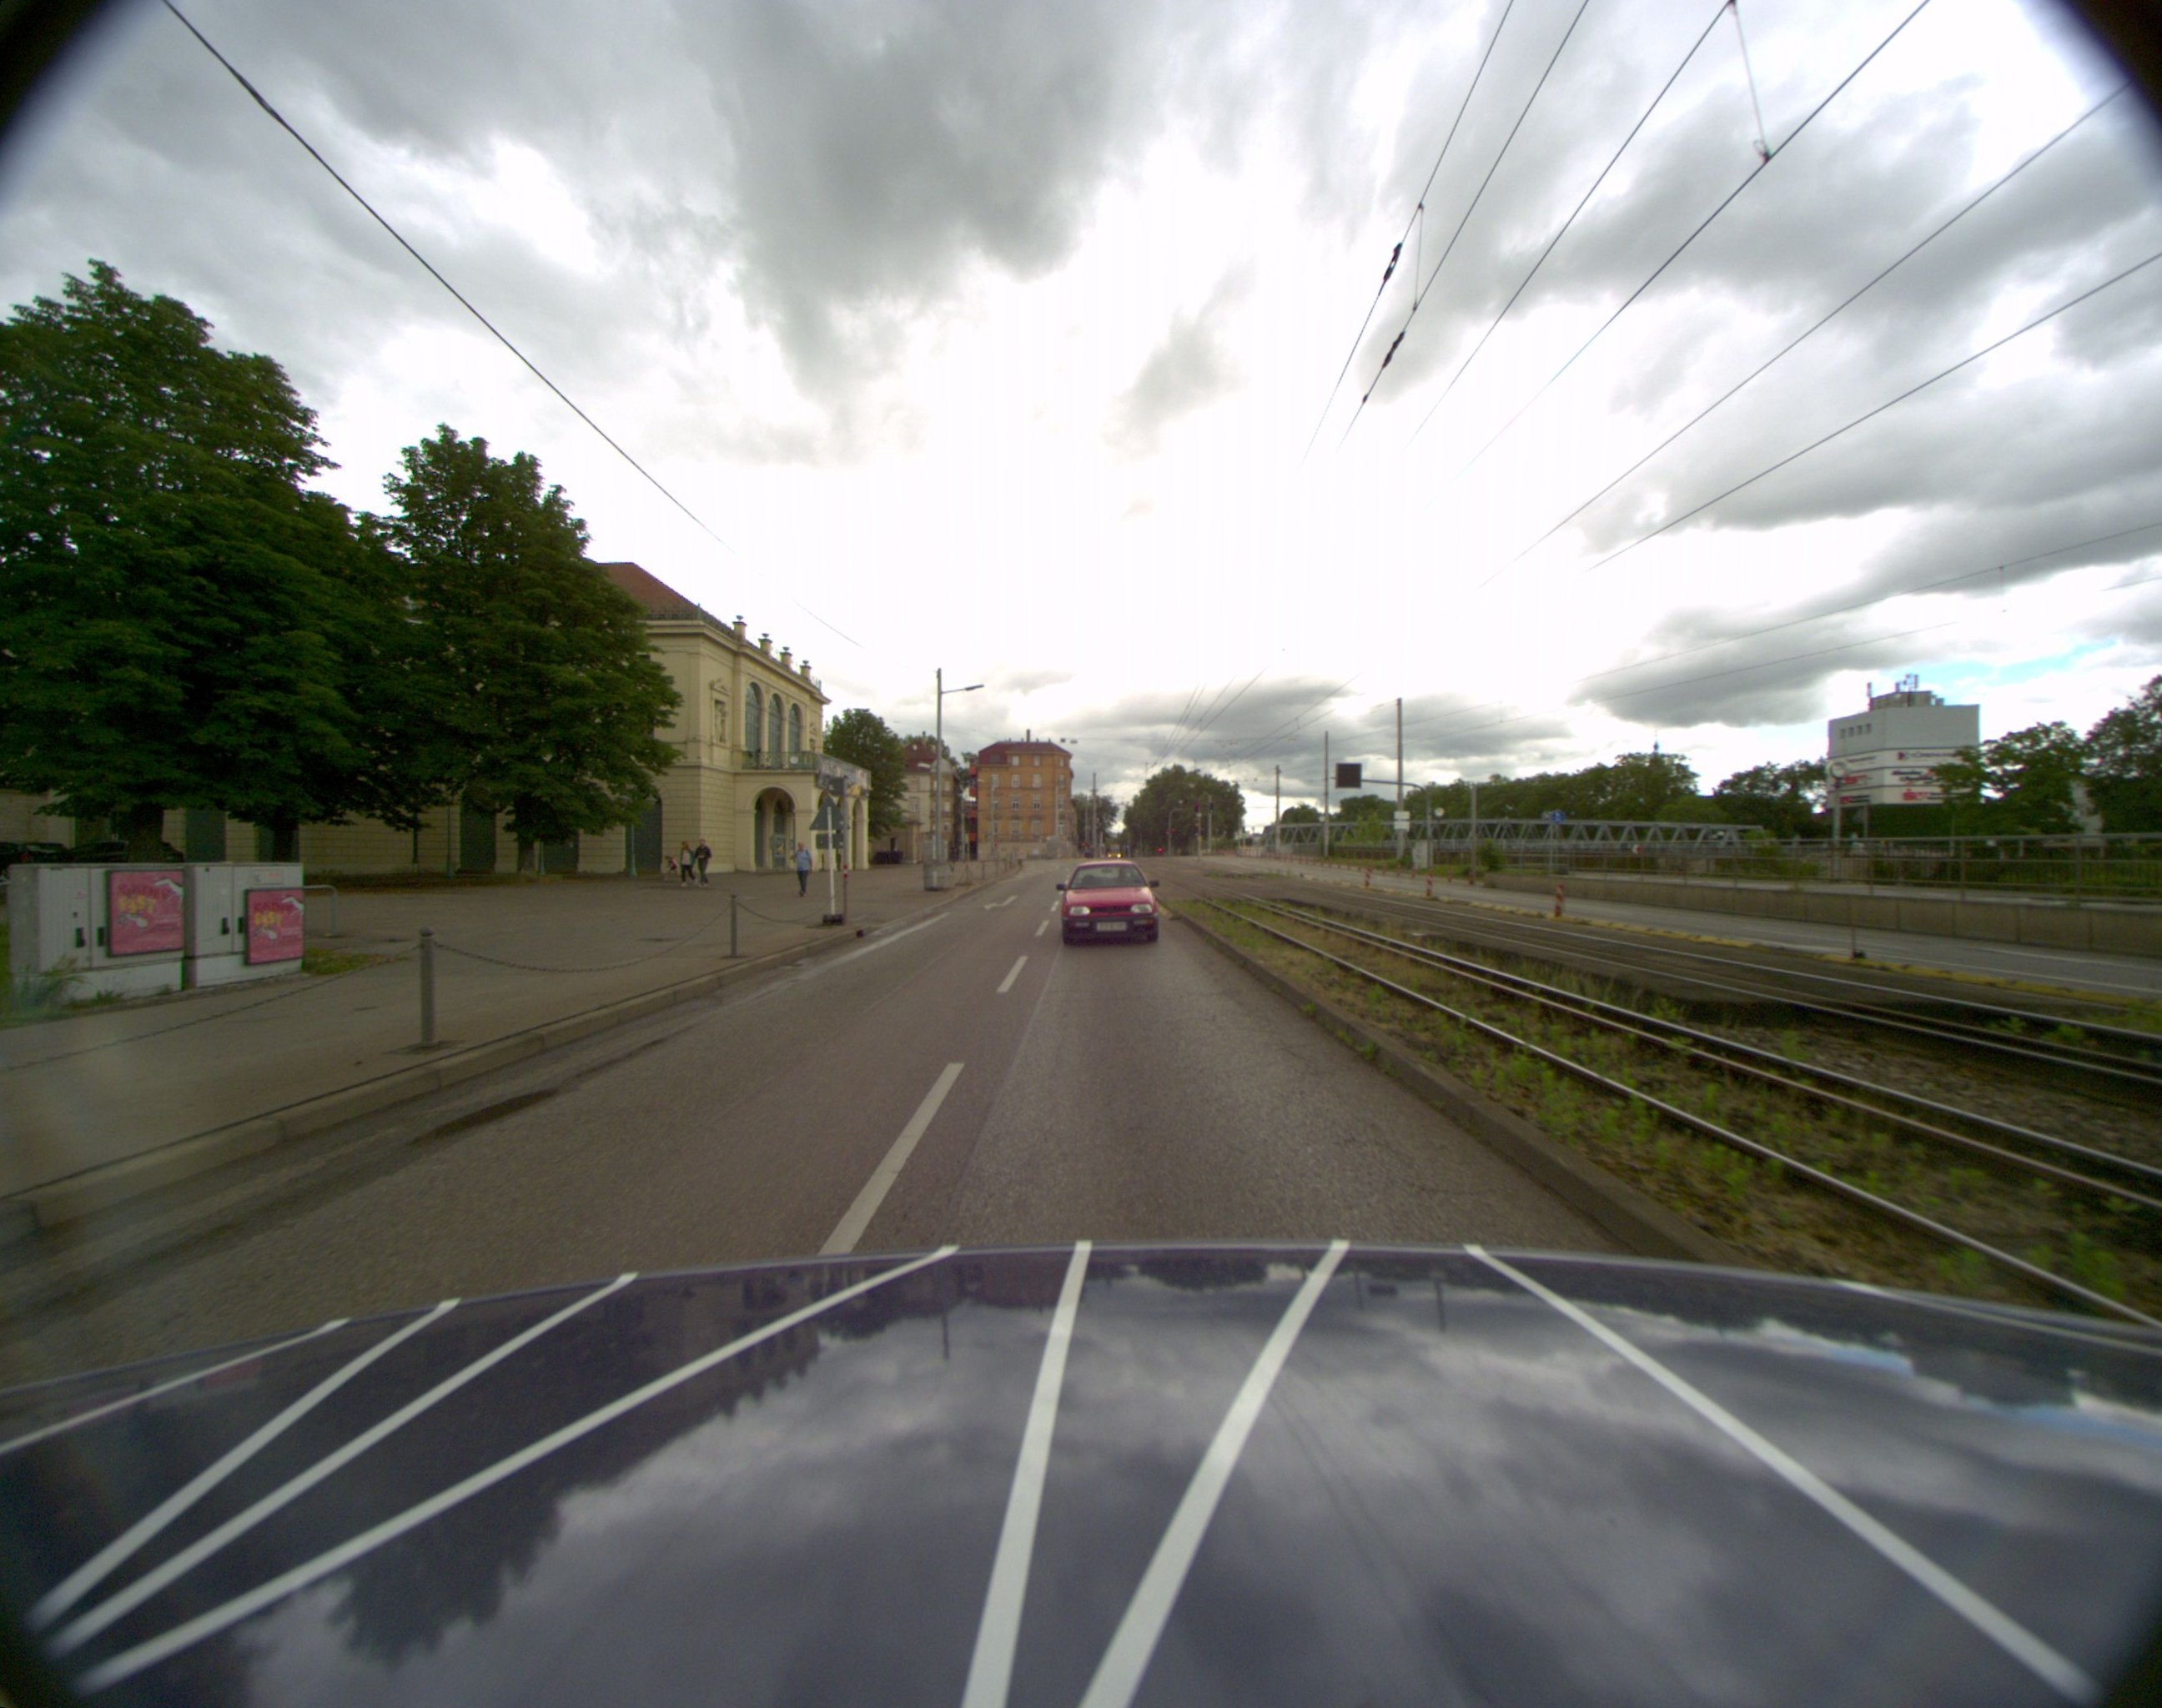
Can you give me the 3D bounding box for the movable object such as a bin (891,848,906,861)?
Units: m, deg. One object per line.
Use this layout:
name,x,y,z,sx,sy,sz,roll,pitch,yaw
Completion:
movable object such as a bin,-19.710,0.086,82.058,1.297,1.361,1.379,0,1,0

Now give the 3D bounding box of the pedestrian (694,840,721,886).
pedestrian,-13.862,0.337,28.183,0.598,1.689,0.790,0,1,1

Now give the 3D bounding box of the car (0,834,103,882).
car,-37.085,0.172,26.430,3.648,1.560,1.900,-2,1,1

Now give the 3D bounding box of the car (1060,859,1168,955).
car,0.551,0.867,14.266,1.681,1.434,4.119,-2,0,0

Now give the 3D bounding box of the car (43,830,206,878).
car,-36.720,-0.008,29.243,3.787,1.642,1.900,-2,1,1

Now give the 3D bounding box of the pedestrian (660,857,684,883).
pedestrian,-15.961,0.622,29.652,0.760,0.995,0.595,0,1,-34

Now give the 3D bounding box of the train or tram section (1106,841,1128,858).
train or tram section,7.615,-1.125,164.206,3.739,3.346,17.551,1,1,0

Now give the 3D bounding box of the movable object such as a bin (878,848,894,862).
movable object such as a bin,-21.043,0.105,81.977,1.297,1.398,1.379,0,1,0

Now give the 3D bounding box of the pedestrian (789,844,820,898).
pedestrian,-9.178,0.549,25.247,0.672,1.758,0.936,0,1,1

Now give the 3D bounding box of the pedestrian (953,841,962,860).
pedestrian,-11.518,-0.297,70.715,0.672,1.758,0.936,0,1,1

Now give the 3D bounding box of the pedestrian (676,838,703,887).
pedestrian,-14.467,0.319,28.090,0.596,1.782,0.808,0,1,1
